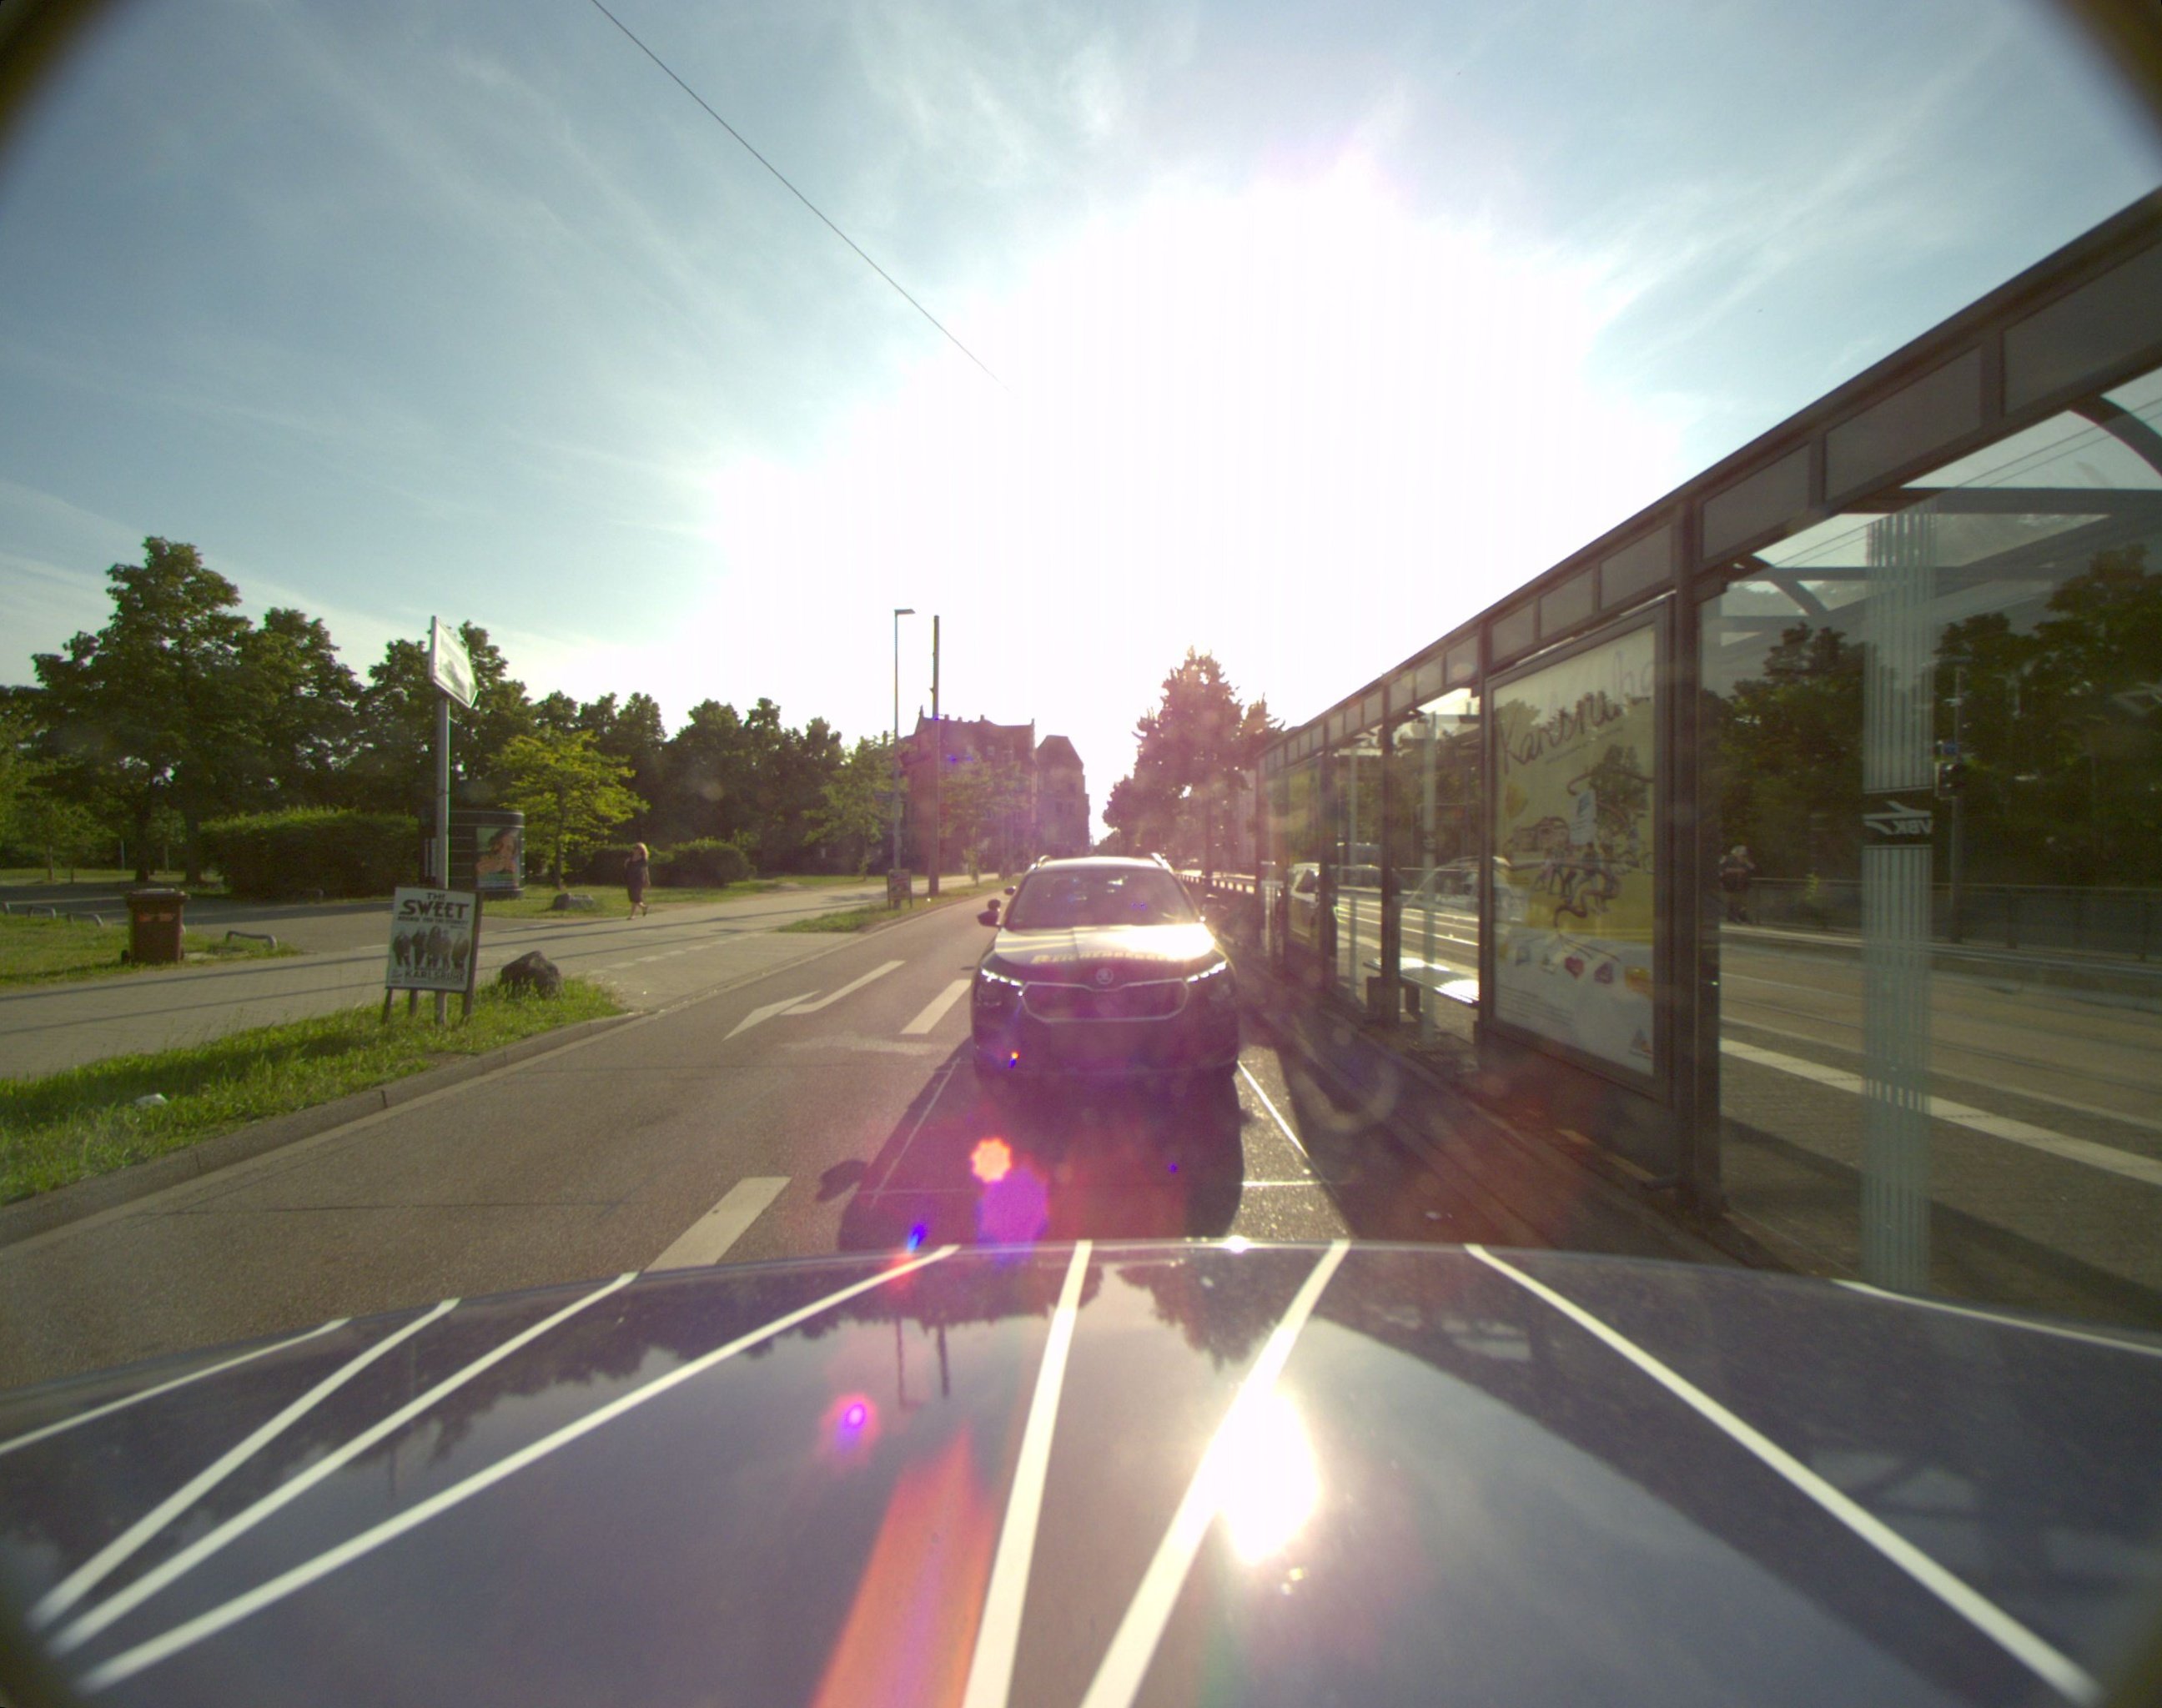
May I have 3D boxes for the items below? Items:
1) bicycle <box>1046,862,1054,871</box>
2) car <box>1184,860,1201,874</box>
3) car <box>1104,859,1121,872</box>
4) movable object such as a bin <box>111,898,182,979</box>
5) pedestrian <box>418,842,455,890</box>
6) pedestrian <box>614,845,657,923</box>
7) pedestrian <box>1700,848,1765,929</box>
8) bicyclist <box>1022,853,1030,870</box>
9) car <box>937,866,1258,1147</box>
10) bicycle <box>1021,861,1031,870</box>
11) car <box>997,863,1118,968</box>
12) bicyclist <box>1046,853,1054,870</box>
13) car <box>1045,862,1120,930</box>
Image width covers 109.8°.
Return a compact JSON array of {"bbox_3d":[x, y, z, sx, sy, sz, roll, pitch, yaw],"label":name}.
[{"bbox_3d":[-3.281,1.293,80.087,0.740,0.912,2.094,0,0,0],"label":"bicycle"},{"bbox_3d":[16.393,1.865,111.859,1.998,2.002,4.000,0,0,0],"label":"car"},{"bbox_3d":[4.218,1.496,101.582,1.999,1.674,3.999,0,0,-1],"label":"car"},{"bbox_3d":[-11.363,1.011,9.246,0.502,0.898,0.526,1,1,39],"label":"movable object such as a bin"},{"bbox_3d":[-28.873,0.532,34.056,0.910,2.145,0.891,0,0,13],"label":"pedestrian"},{"bbox_3d":[-9.868,0.646,16.838,0.558,1.691,0.662,0,1,0],"label":"pedestrian"},{"bbox_3d":[13.272,0.686,15.496,0.736,1.618,0.689,0,0,1],"label":"pedestrian"},{"bbox_3d":[-5.703,0.796,78.668,0.753,1.763,1.119,0,0,2],"label":"bicyclist"},{"bbox_3d":[0.117,0.885,6.233,1.781,1.496,4.000,0,0,1],"label":"car"},{"bbox_3d":[-5.698,1.219,78.616,0.740,0.912,2.095,0,0,3],"label":"bicycle"},{"bbox_3d":[-0.320,0.933,13.231,1.781,1.496,4.000,0,0,1],"label":"car"},{"bbox_3d":[-3.281,0.813,80.173,0.730,1.763,1.015,0,0,-1],"label":"bicyclist"},{"bbox_3d":[0.058,0.965,19.075,1.672,1.496,3.872,0,0,1],"label":"car"}]
